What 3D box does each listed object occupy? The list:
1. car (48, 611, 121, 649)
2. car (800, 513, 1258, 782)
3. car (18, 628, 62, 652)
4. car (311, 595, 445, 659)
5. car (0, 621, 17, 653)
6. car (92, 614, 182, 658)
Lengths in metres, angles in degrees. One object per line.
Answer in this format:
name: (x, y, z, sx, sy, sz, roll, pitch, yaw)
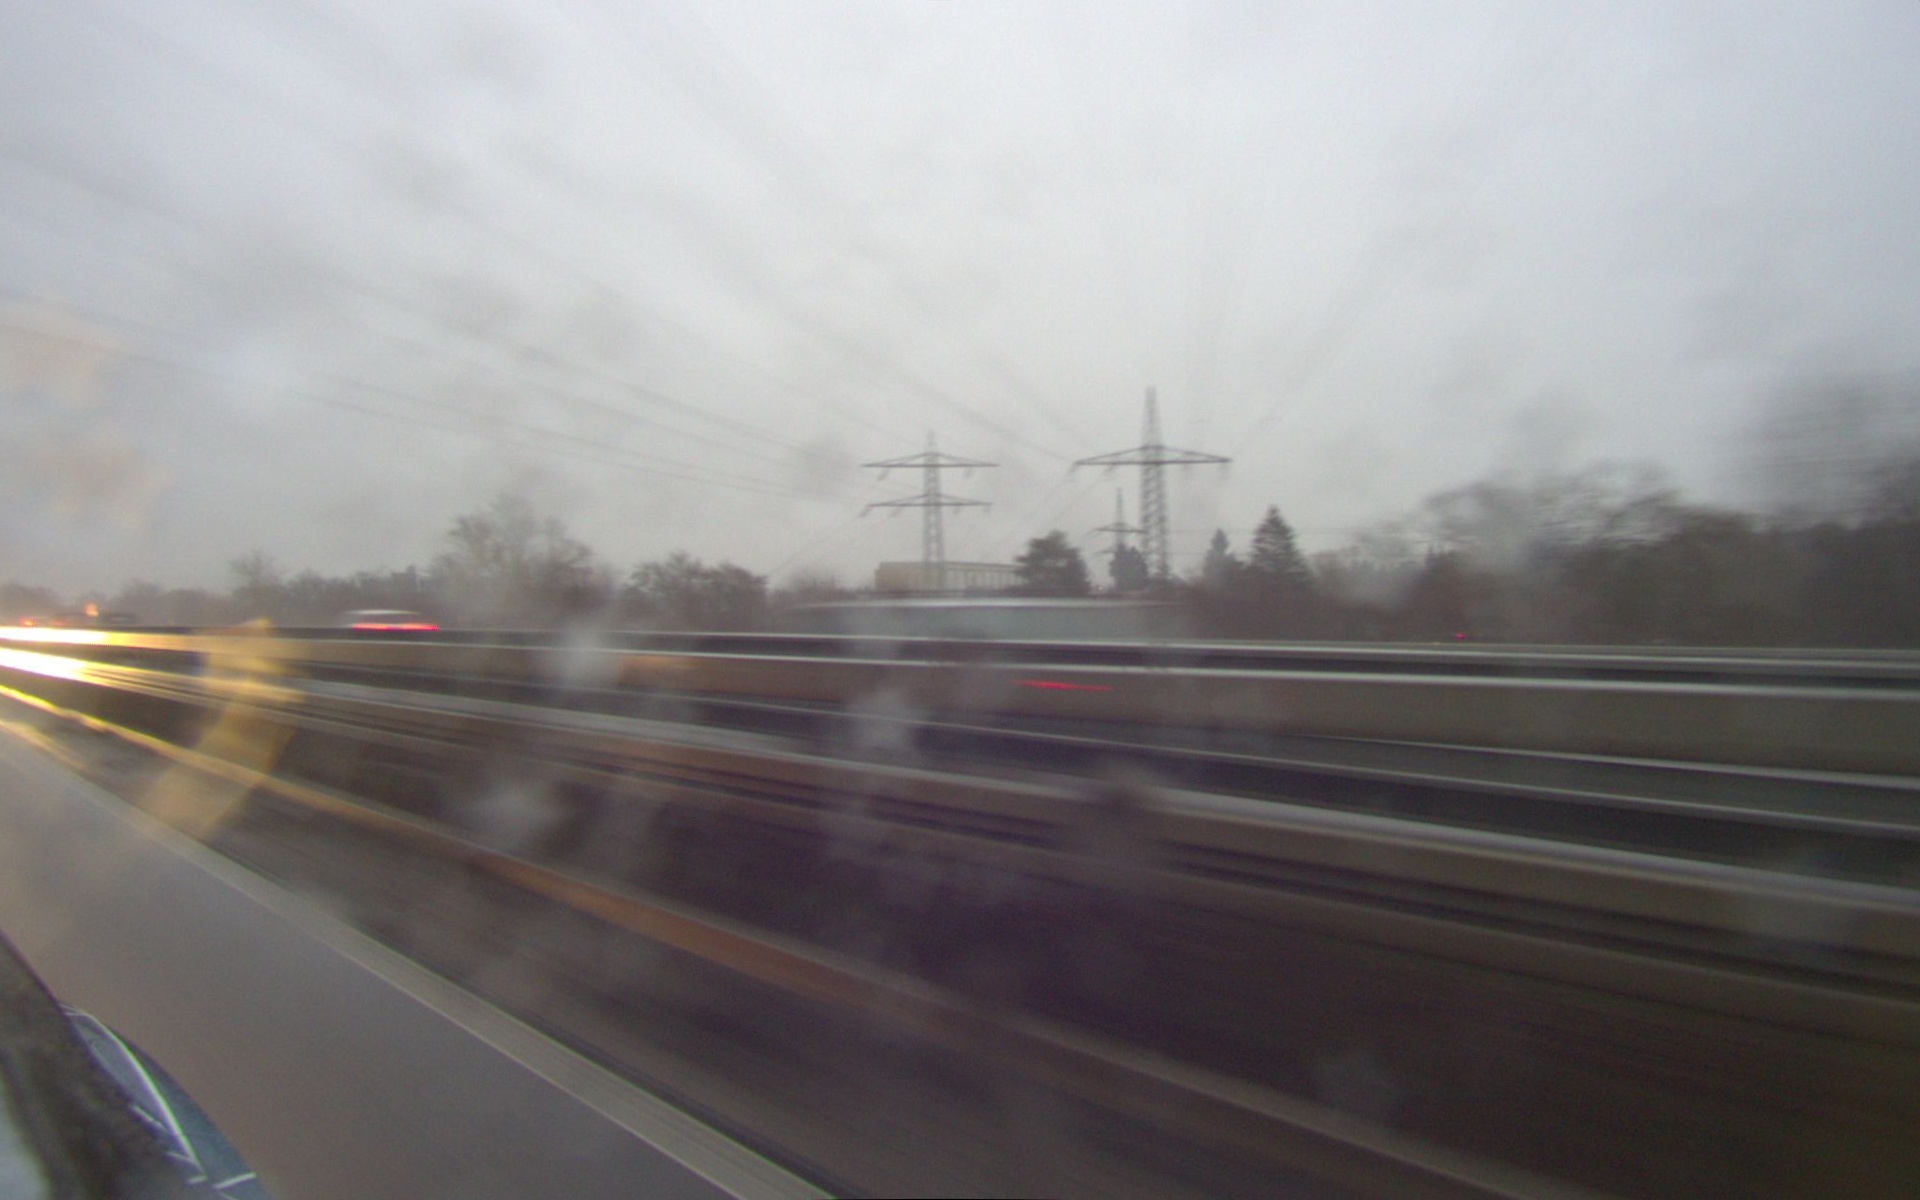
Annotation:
car: (-41.968, 1.422, 48.480, 4.397, 1.724, 2.049, -2, -1, 41)
car: (0.531, 0.390, 9.702, 3.998, 2.029, 1.973, -1, -1, 41)
car: (-71.866, 3.090, 79.053, 4.337, 1.805, 2.049, -2, -1, 41)
car: (-17.916, 0.809, 31.085, 4.806, 1.805, 2.141, -2, -1, 41)
car: (-64.683, 2.464, 67.549, 4.760, 2.130, 2.049, -2, -1, 41)
car: (-30.934, 1.320, 38.000, 3.998, 1.521, 1.973, -1, -1, 41)
